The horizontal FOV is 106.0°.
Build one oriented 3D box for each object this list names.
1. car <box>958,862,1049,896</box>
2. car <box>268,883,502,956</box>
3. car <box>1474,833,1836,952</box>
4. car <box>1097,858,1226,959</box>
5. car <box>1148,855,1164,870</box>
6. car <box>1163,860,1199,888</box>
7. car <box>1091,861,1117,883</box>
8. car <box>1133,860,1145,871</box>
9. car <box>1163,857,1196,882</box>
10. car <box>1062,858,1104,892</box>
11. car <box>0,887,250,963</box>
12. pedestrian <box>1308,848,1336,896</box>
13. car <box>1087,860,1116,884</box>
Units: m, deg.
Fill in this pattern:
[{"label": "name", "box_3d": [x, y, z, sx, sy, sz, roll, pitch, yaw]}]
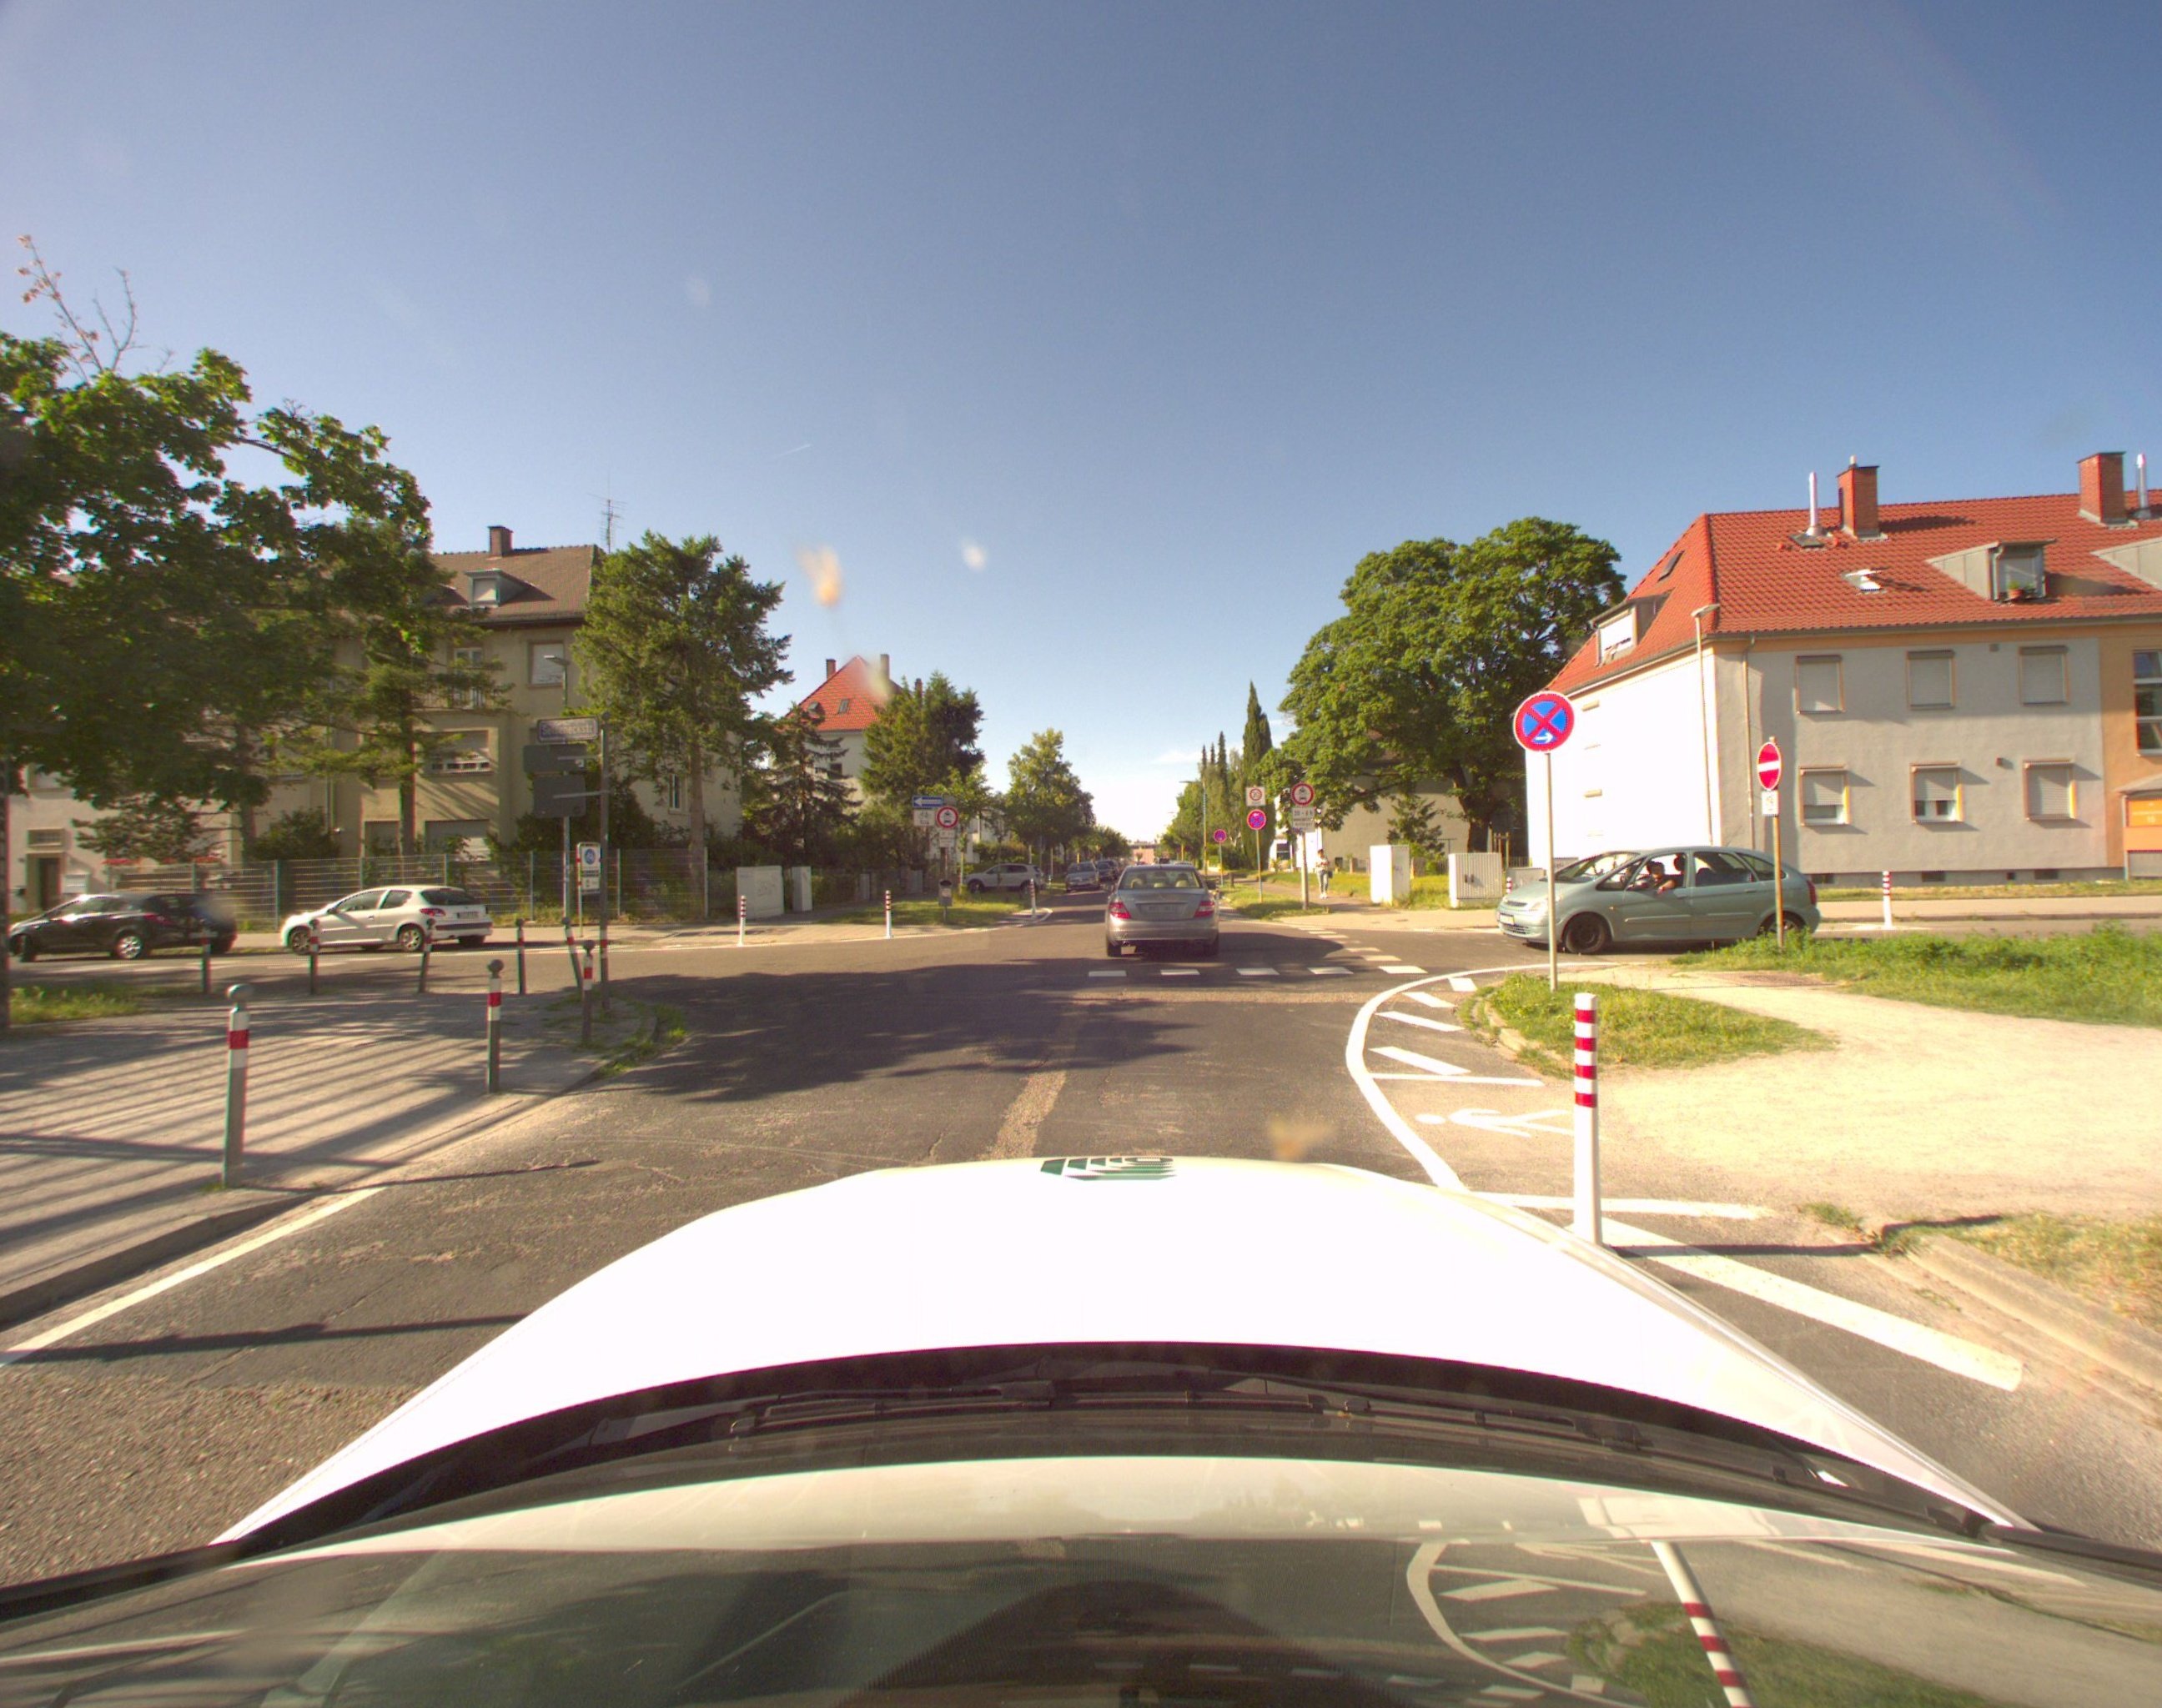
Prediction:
[{"label": "car", "box_3d": [-3.696, 1.195, 39.524, 4.177, 1.564, 1.842, -1, -1, 1]}, {"label": "car", "box_3d": [-15.183, 1.404, 17.895, 3.747, 1.398, 1.708, -2, -2, 4]}, {"label": "car", "box_3d": [8.688, 0.568, 12.683, 4.213, 1.608, 1.891, -2, -1, 5]}, {"label": "car", "box_3d": [1.343, 0.806, 13.678, 1.827, 1.441, 4.006, -1, -1, 6]}, {"label": "car", "box_3d": [9.379, 1.030, 101.962, 1.846, 1.841, 4.004, -2, 0, 4]}, {"label": "car", "box_3d": [5.660, 1.095, 46.340, 1.726, 1.480, 3.727, -2, 0, 2]}, {"label": "car", "box_3d": [1.984, 1.443, 68.001, 1.986, 1.609, 4.002, -5, -1, 2]}, {"label": "car", "box_3d": [8.687, 1.741, 122.515, 1.591, 1.610, 3.646, -2, 0, 2]}, {"label": "car", "box_3d": [6.868, 1.052, 57.007, 1.985, 1.610, 4.002, -2, 0, 2]}, {"label": "car", "box_3d": [0.175, 1.113, 44.441, 1.986, 1.609, 4.002, -5, -1, 2]}, {"label": "car", "box_3d": [-21.137, 1.534, 18.075, 3.796, 1.495, 1.679, -2, -2, 4]}, {"label": "pedestrian", "box_3d": [8.266, 0.620, 27.938, 0.761, 1.611, 0.836, -2, -1, 9]}, {"label": "car", "box_3d": [1.576, 1.311, 62.216, 1.986, 1.609, 4.002, -5, -1, 2]}]
